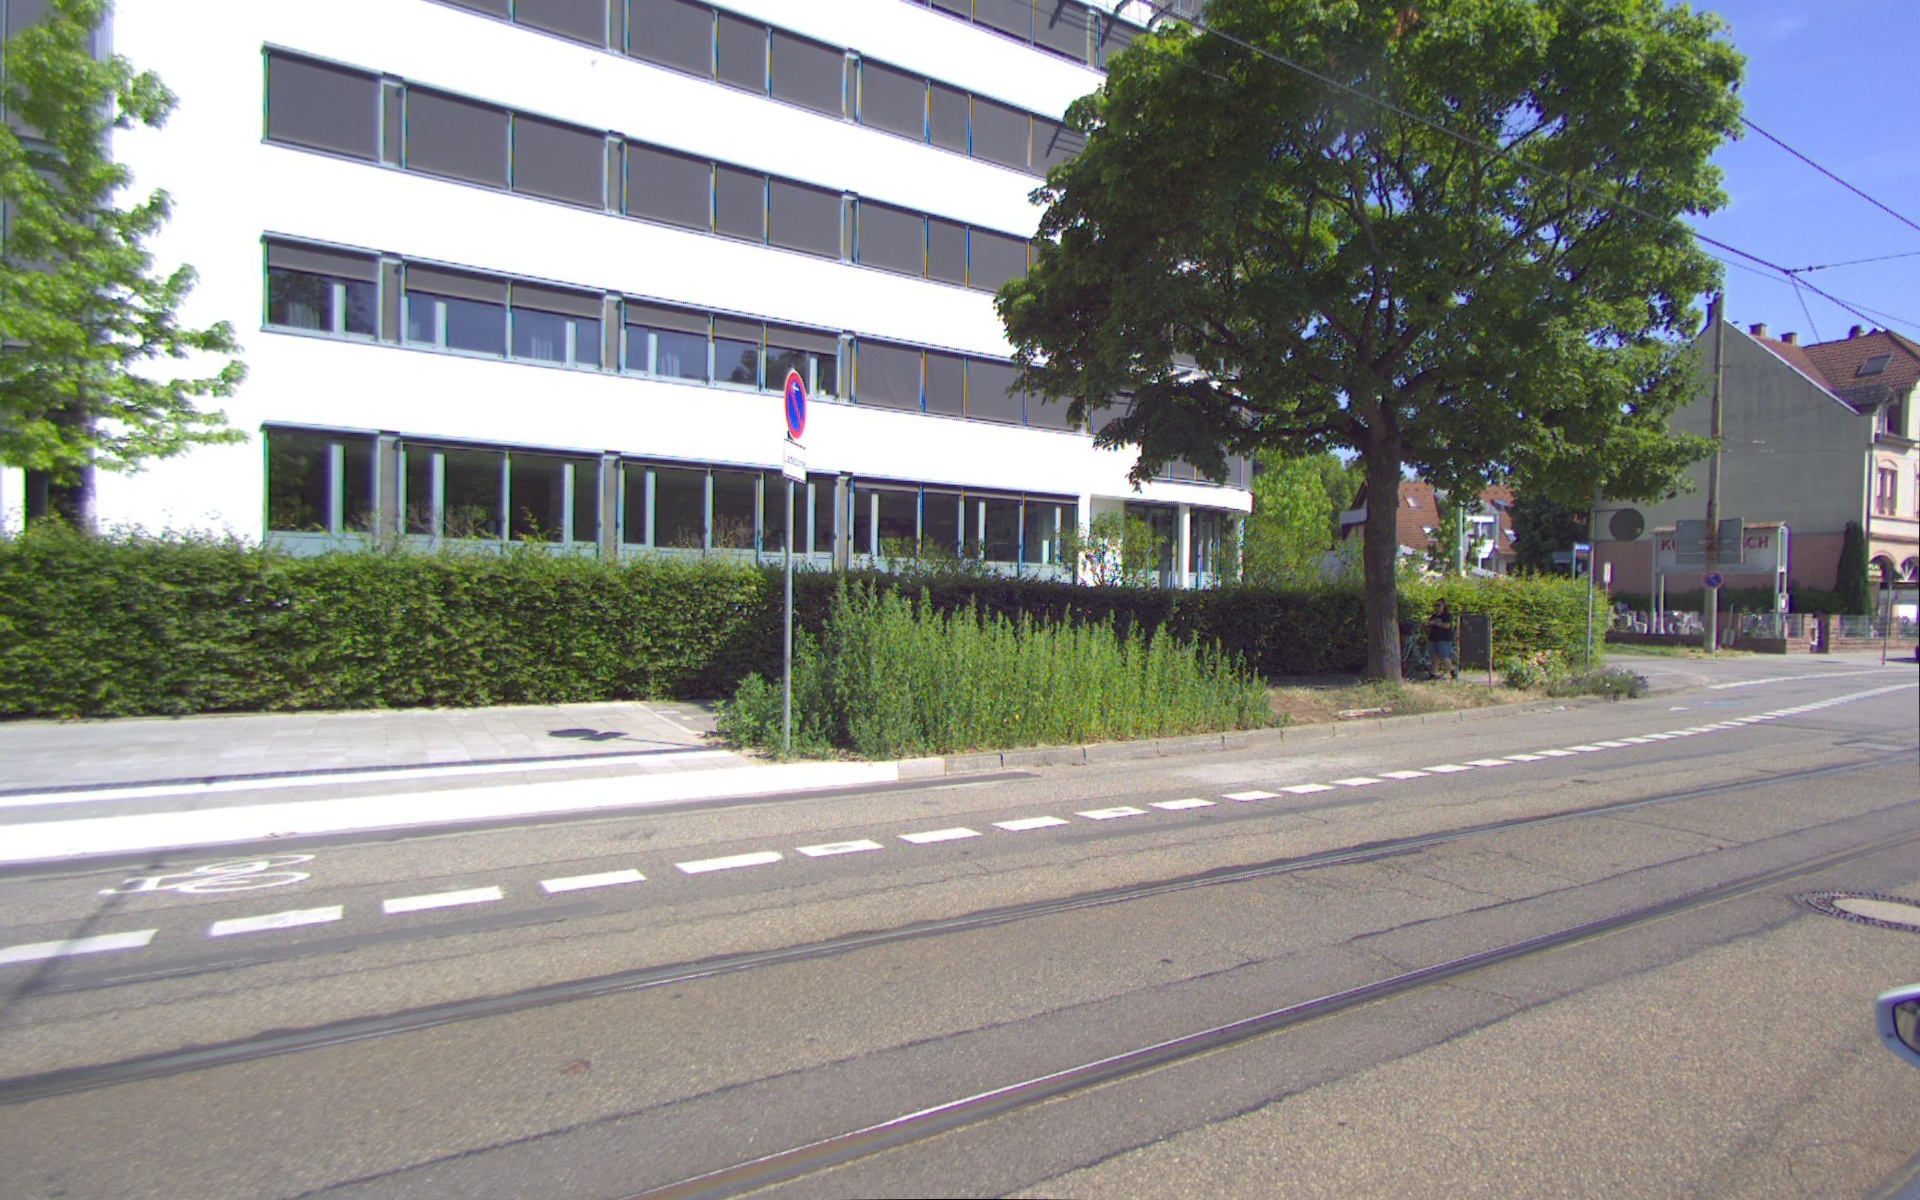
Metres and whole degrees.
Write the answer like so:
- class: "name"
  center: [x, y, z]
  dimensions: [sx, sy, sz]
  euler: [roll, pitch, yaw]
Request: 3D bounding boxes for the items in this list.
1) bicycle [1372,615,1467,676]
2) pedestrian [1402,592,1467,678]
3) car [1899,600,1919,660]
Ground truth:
- class: "bicycle"
  center: [8.946, 0.858, 19.531]
  dimensions: [2.043, 1.132, 0.632]
  euler: [1, 0, -32]
- class: "pedestrian"
  center: [9.118, 0.652, 19.310]
  dimensions: [0.978, 1.584, 0.681]
  euler: [0, 2, -35]
- class: "car"
  center: [34.944, 1.082, 34.817]
  dimensions: [4.848, 2.041, 2.075]
  euler: [1, 1, -29]
